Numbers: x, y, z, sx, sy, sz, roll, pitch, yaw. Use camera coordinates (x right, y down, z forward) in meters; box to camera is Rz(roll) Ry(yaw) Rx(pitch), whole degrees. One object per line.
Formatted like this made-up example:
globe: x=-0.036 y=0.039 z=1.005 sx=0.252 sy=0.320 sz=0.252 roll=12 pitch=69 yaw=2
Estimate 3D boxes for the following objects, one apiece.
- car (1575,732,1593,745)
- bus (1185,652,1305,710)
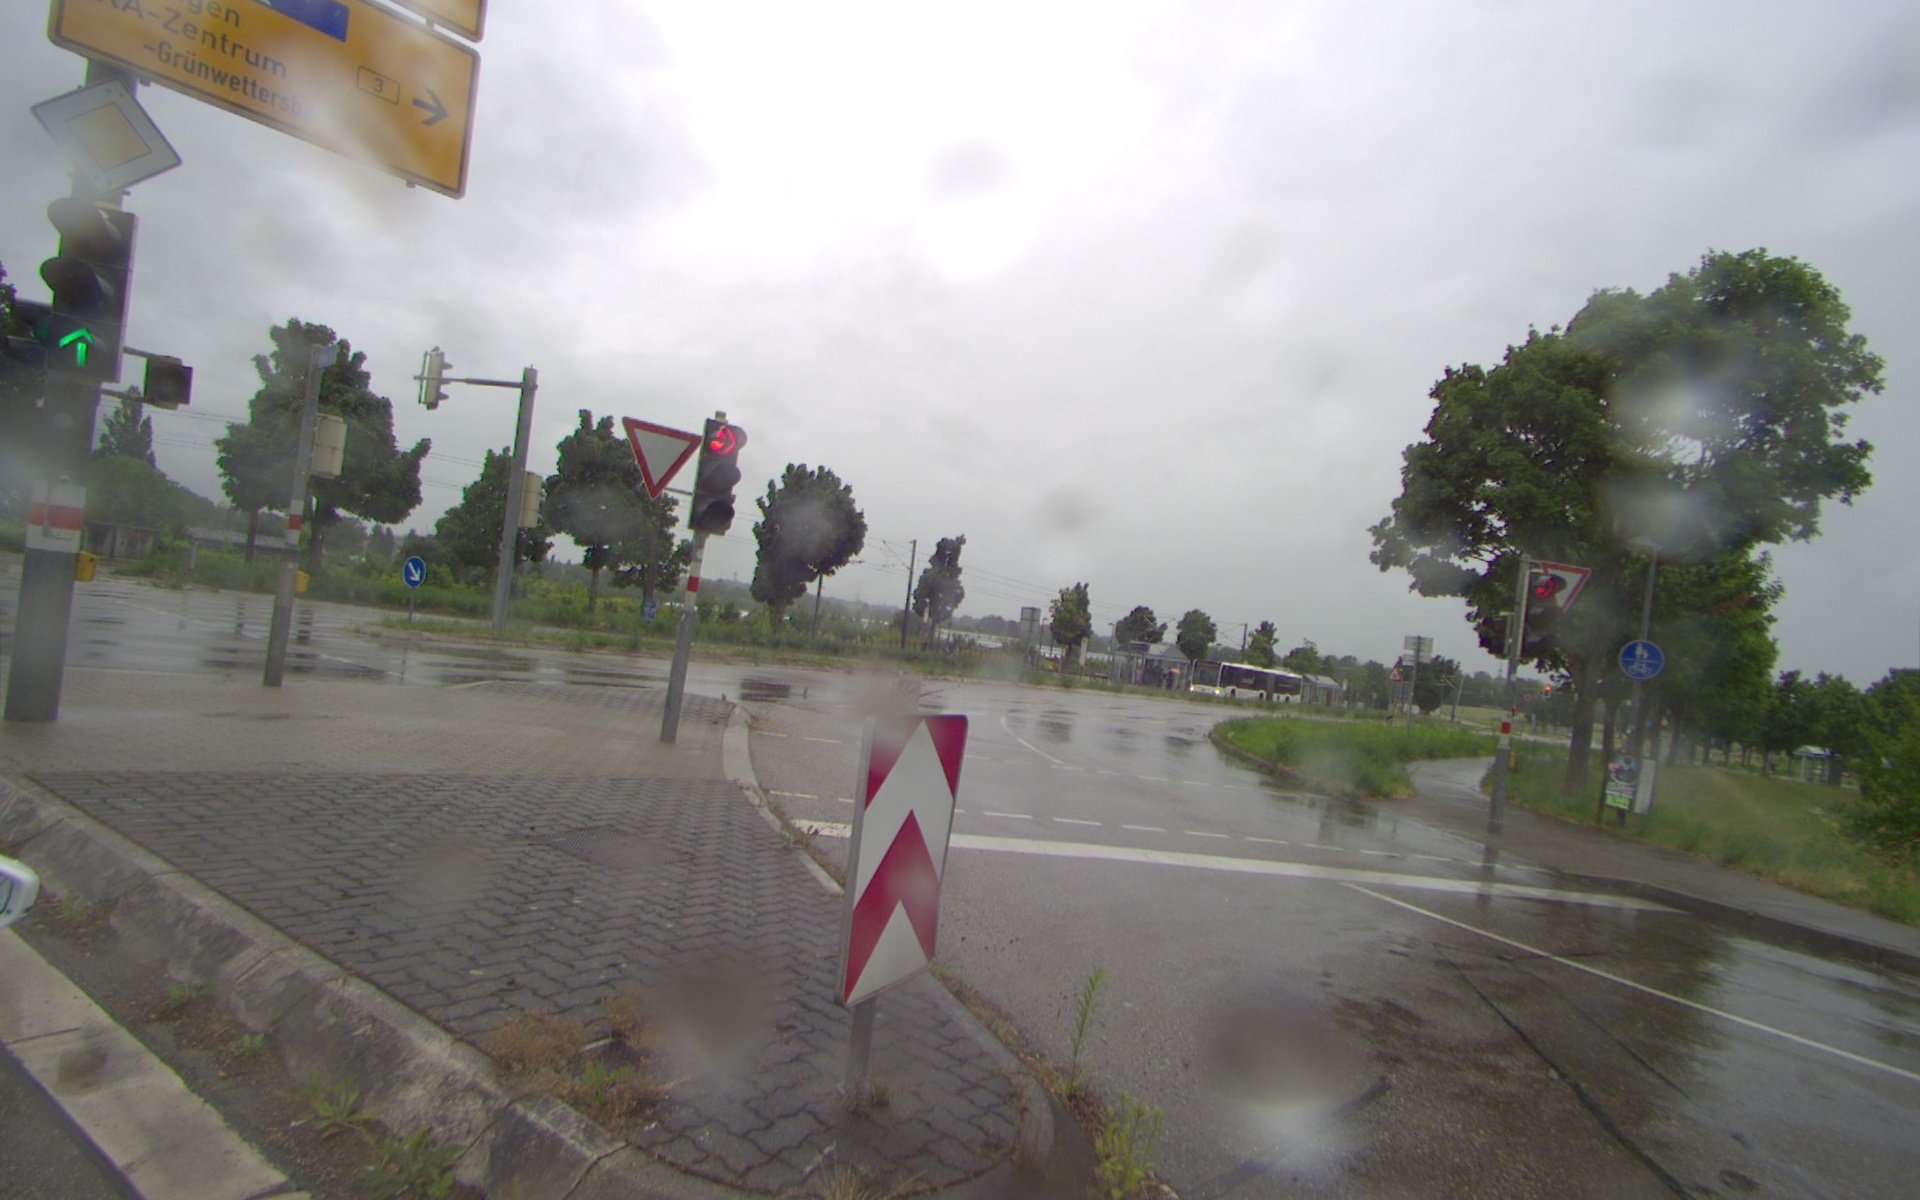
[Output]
car: x=84.967 y=18.890 z=136.913 sx=1.850 sy=1.370 sz=4.042 roll=7 pitch=-1 yaw=34
bus: x=24.256 y=6.977 z=84.233 sx=2.715 sy=3.828 sz=18.381 roll=7 pitch=-2 yaw=38
